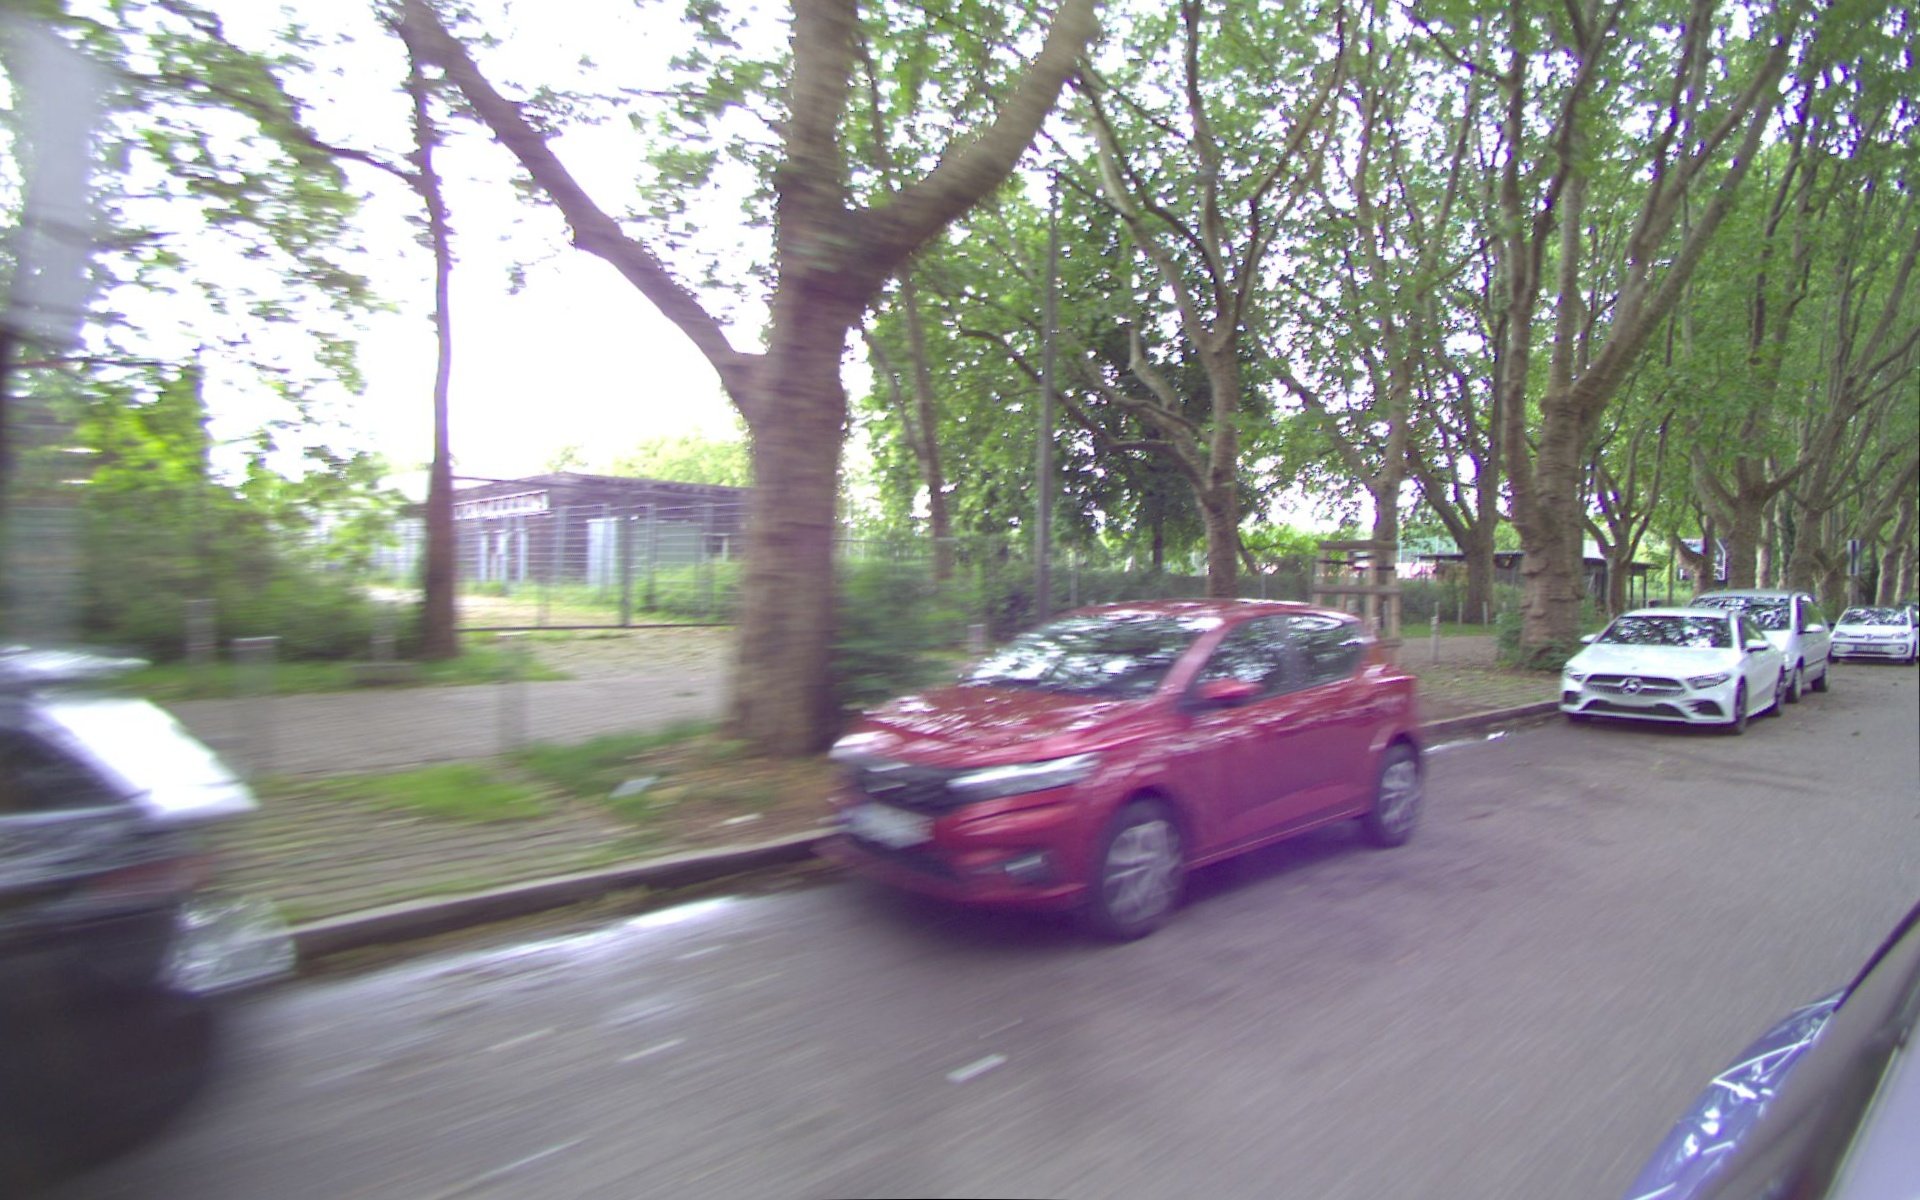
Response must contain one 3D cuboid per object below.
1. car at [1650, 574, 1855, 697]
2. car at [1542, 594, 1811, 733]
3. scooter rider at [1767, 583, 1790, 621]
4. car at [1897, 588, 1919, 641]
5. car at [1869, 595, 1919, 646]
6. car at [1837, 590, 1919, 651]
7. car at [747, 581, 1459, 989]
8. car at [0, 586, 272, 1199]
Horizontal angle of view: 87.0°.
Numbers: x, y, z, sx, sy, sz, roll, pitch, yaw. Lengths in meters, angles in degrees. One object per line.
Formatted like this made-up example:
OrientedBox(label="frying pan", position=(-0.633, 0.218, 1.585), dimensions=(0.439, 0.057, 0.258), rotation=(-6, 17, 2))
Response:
OrientedBox(label="car", position=(13.240, 0.490, 16.811), dimensions=(4.428, 1.760, 1.906), rotation=(0, 1, -41))
OrientedBox(label="car", position=(9.336, 0.675, 13.036), dimensions=(4.507, 1.445, 1.880), rotation=(0, 1, -42))
OrientedBox(label="scooter rider", position=(40.075, 0.099, 49.556), dimensions=(0.577, 1.822, 0.678), rotation=(1, 3, -41))
OrientedBox(label="car", position=(32.999, 0.454, 34.139), dimensions=(4.552, 1.720, 1.709), rotation=(0, 0, -43))
OrientedBox(label="car", position=(28.714, 0.594, 30.455), dimensions=(4.288, 1.433, 1.709), rotation=(0, 1, -44))
OrientedBox(label="car", position=(23.753, 0.477, 25.727), dimensions=(3.821, 1.445, 1.710), rotation=(0, 0, -41))
OrientedBox(label="car", position=(1.059, 0.670, 5.842), dimensions=(4.105, 1.500, 1.859), rotation=(0, 1, -42))
OrientedBox(label="car", position=(-3.764, 0.704, 1.475), dimensions=(4.401, 1.445, 1.881), rotation=(0, 1, -41))
